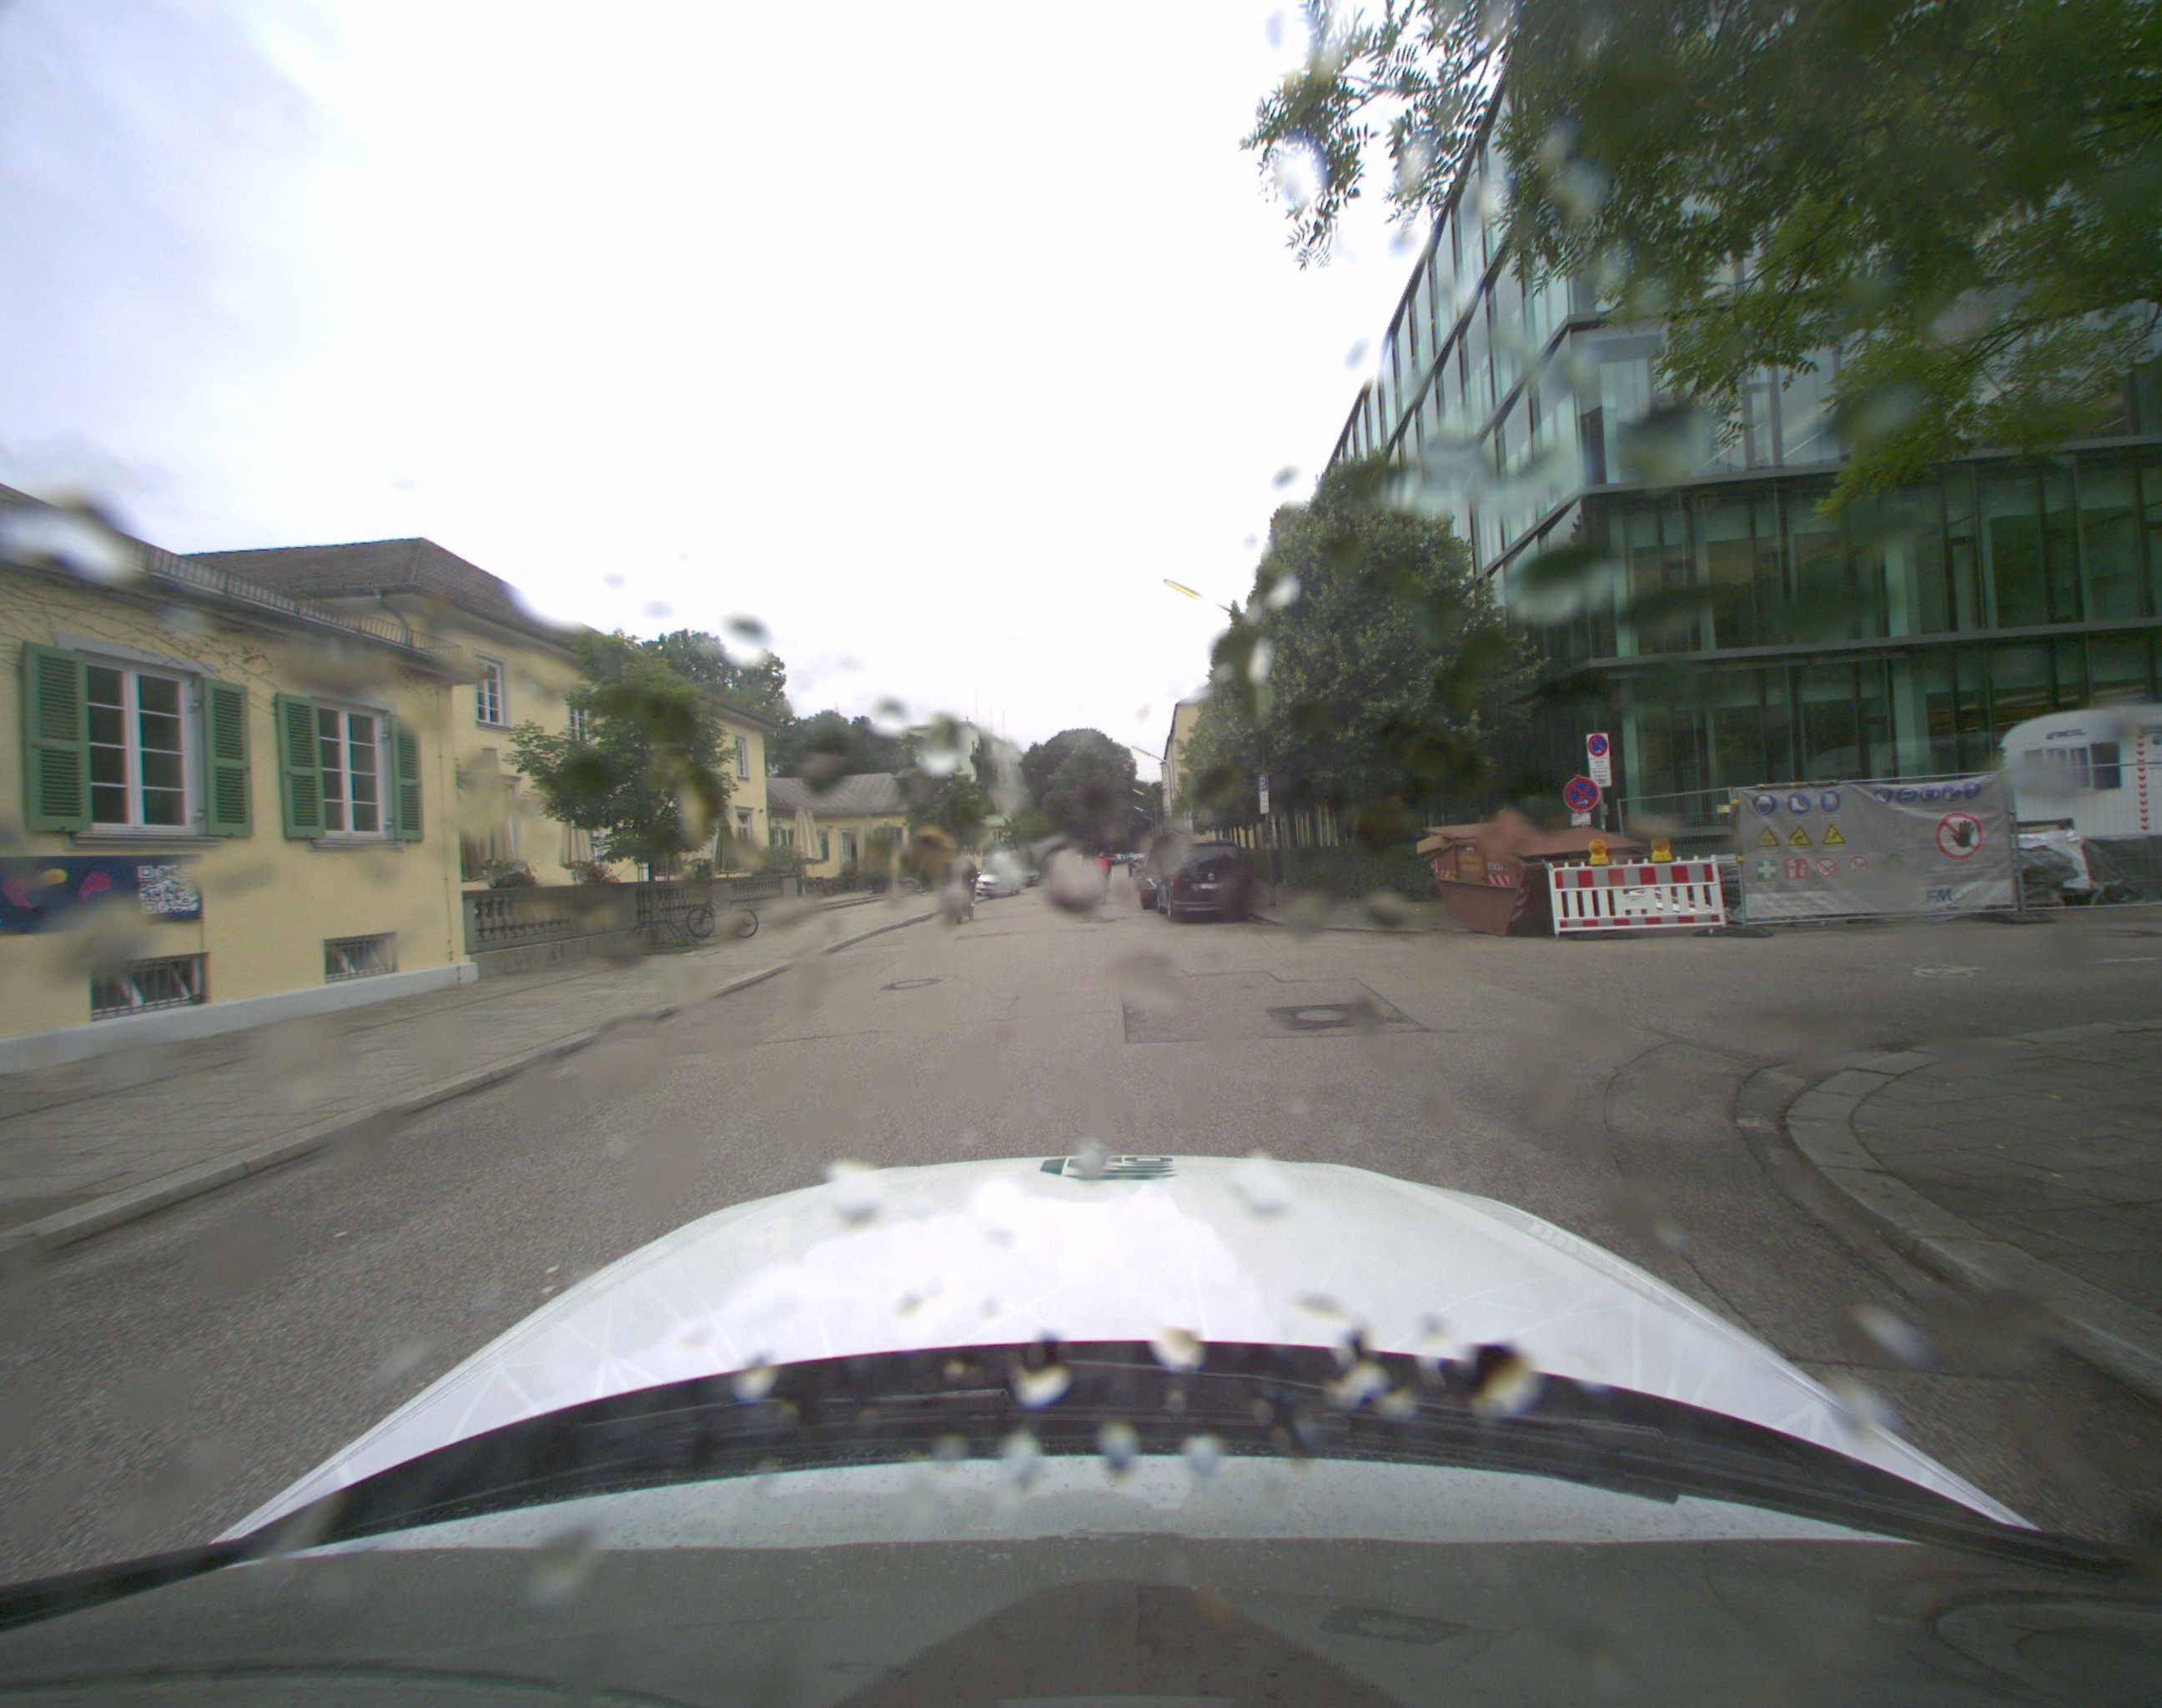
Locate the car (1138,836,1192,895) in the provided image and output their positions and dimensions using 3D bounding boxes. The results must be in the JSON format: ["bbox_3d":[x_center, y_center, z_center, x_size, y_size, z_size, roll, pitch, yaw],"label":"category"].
[{"bbox_3d":[3.086,0.384,30.516,1.742,1.943,4.232,-3,0,4],"label":"car"}]

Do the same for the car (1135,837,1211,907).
[{"bbox_3d":[2.640,0.487,24.307,1.855,1.793,4.513,-3,0,3],"label":"car"}]

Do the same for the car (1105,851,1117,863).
[{"bbox_3d":[5.315,0.472,142.974,1.986,2.099,4.002,-1,0,2],"label":"car"}]

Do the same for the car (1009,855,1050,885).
[{"bbox_3d":[-3.166,0.942,50.945,1.985,1.648,4.659,-3,0,3],"label":"car"}]

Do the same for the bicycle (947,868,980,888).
[{"bbox_3d":[-6.501,1.326,44.975,1.622,1.004,0.618,-3,-2,-26],"label":"bicycle"}]

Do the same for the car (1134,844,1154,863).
[{"bbox_3d":[7.176,-0.057,93.294,1.987,2.060,4.624,-3,0,1],"label":"car"}]

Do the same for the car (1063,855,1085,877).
[{"bbox_3d":[-0.681,1.181,82.475,1.986,2.079,4.002,-3,0,2],"label":"car"}]

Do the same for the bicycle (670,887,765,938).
[{"bbox_3d":[-8.423,1.354,18.914,1.922,1.099,0.615,-1,0,2],"label":"bicycle"}]

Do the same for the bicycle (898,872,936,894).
[{"bbox_3d":[-7.690,1.363,38.261,1.621,0.926,0.646,-3,-2,-25],"label":"bicycle"}]

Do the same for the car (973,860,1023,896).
[{"bbox_3d":[-3.846,1.082,38.351,1.726,1.581,3.791,0,0,3],"label":"car"}]

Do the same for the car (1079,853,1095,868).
[{"bbox_3d":[0.805,0.820,105.247,1.803,1.683,4.002,-3,0,2],"label":"car"}]

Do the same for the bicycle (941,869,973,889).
[{"bbox_3d":[-7.051,1.393,46.166,1.626,1.004,0.617,-4,-1,-36],"label":"bicycle"}]

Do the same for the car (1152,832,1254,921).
[{"bbox_3d":[2.788,0.475,19.484,1.755,1.823,4.139,-2,0,0],"label":"car"}]

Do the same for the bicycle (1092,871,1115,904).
[{"bbox_3d":[0.743,1.061,26.390,0.619,1.004,2.141,-4,-1,3],"label":"bicycle"}]

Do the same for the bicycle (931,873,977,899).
[{"bbox_3d":[-5.260,1.314,33.827,0.615,1.004,2.154,0,0,33],"label":"bicycle"}]

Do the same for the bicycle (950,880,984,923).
[{"bbox_3d":[-3.096,1.273,22.280,0.620,1.004,2.139,-3,0,-1],"label":"bicycle"}]

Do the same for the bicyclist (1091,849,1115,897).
[{"bbox_3d":[0.717,0.616,26.388,0.669,1.497,1.095,-3,-2,3],"label":"bicyclist"}]

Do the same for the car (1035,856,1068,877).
[{"bbox_3d":[-2.224,0.959,63.008,1.983,1.486,4.007,-1,0,6],"label":"car"}]

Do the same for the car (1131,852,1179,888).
[{"bbox_3d":[3.201,0.674,36.048,1.855,1.440,4.258,-3,0,2],"label":"car"}]

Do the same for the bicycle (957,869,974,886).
[{"bbox_3d":[-7.116,1.419,50.047,0.618,1.004,1.621,-3,-1,6],"label":"bicycle"}]

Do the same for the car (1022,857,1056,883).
[{"bbox_3d":[-2.837,1.067,55.877,1.986,1.603,4.001,-3,-1,1],"label":"car"}]

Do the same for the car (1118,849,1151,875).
[{"bbox_3d":[3.684,0.529,56.526,1.987,1.618,4.000,-3,0,1],"label":"car"}]

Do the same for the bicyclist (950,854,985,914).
[{"bbox_3d":[-3.115,0.816,22.399,0.741,1.576,0.976,-3,0,-1],"label":"bicyclist"}]

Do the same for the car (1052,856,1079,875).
[{"bbox_3d":[-1.382,1.006,73.889,1.984,1.486,4.005,-3,0,4],"label":"car"}]

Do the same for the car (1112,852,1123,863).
[{"bbox_3d":[6.875,0.687,154.647,1.985,2.014,4.004,-1,-1,4],"label":"car"}]
